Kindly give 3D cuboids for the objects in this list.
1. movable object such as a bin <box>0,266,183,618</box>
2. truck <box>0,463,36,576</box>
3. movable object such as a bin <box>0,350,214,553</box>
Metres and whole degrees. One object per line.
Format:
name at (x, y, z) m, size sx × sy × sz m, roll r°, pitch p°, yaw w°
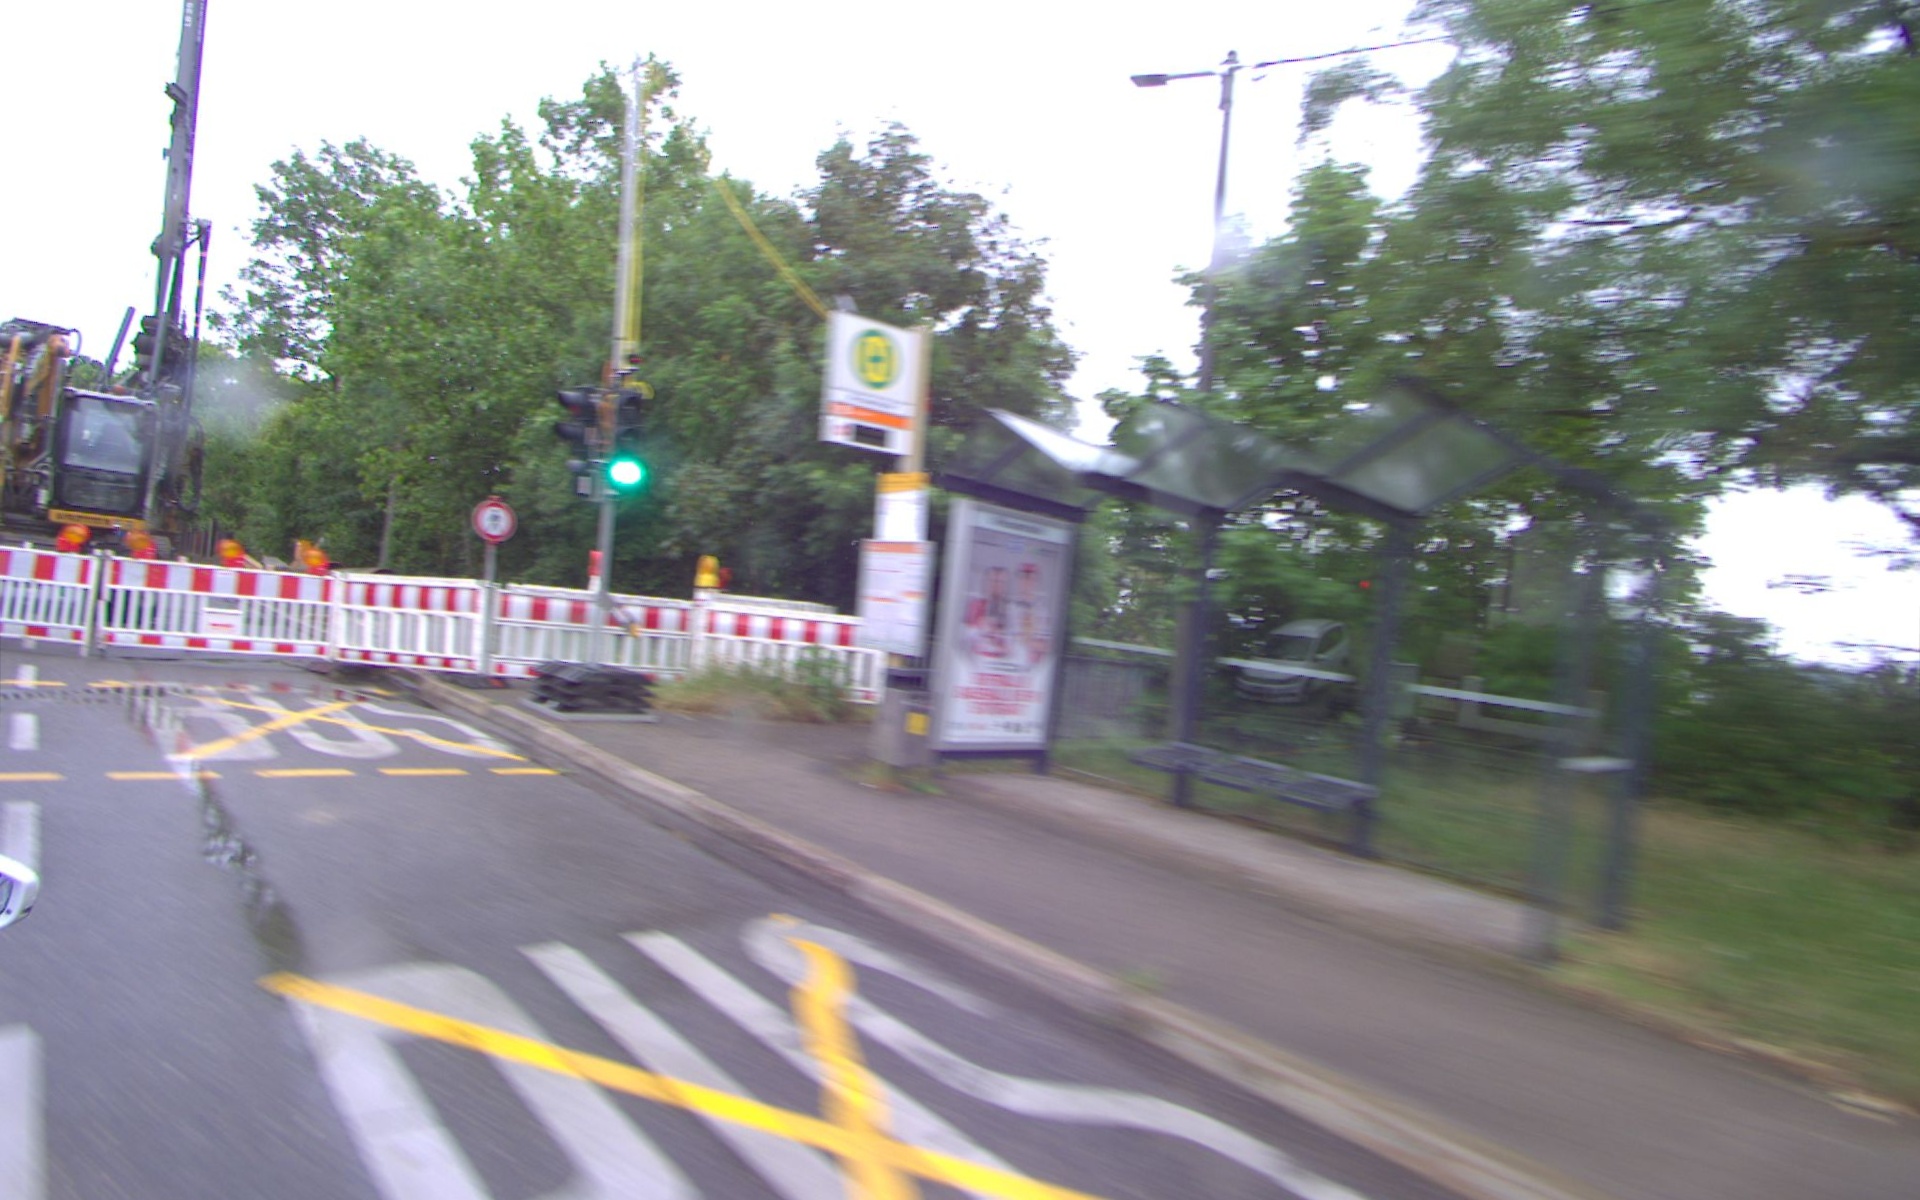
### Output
movable object such as a bin at (-13.186, -2.138, 14.388) m, size 2.865 × 4.224 × 4.437 m, roll 5°, pitch 1°, yaw -40°
truck at (-20.227, -1.717, 20.049) m, size 2.542 × 2.134 × 3.264 m, roll 5°, pitch -1°, yaw -44°
movable object such as a bin at (-27.379, -4.364, 31.589) m, size 3.635 × 5.129 × 7.143 m, roll 5°, pitch -1°, yaw -15°
